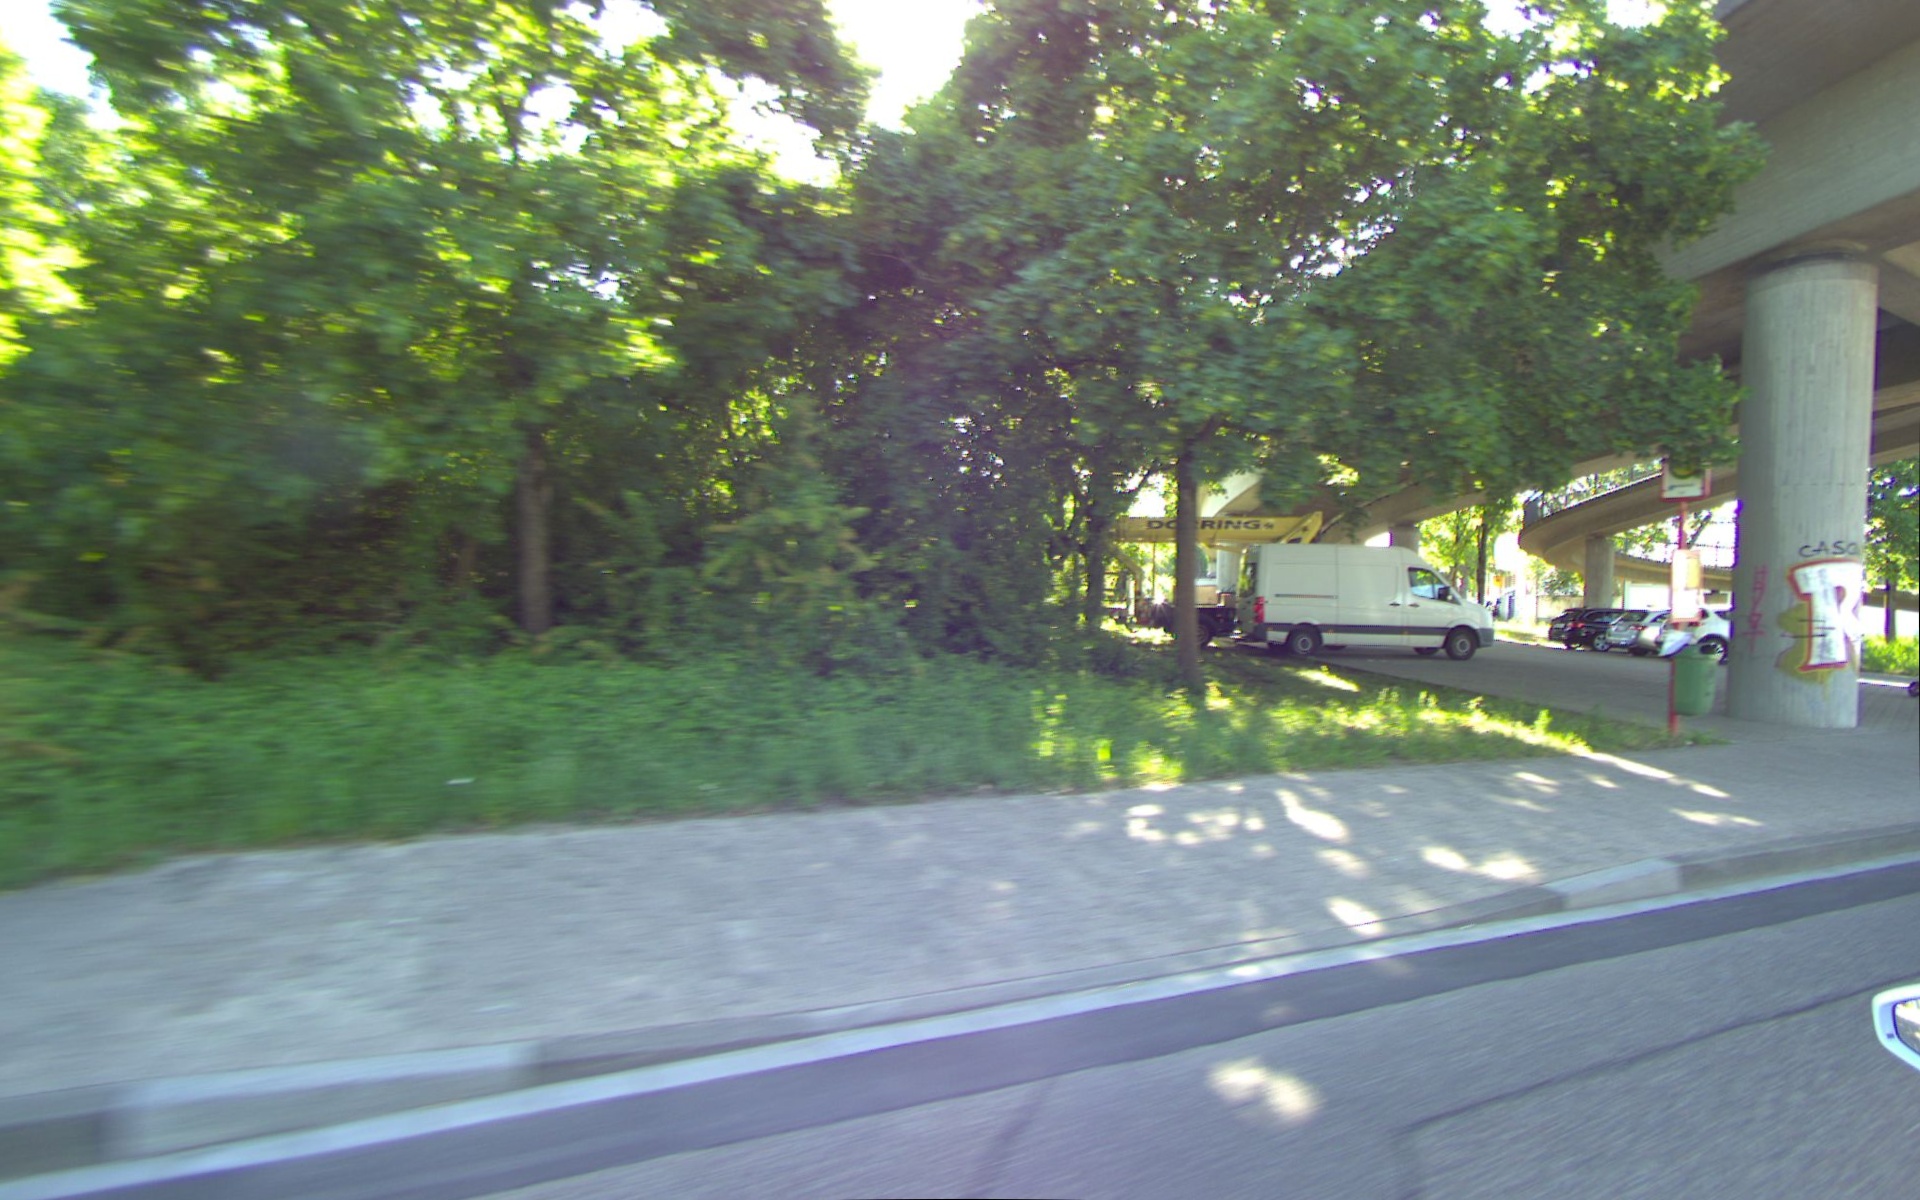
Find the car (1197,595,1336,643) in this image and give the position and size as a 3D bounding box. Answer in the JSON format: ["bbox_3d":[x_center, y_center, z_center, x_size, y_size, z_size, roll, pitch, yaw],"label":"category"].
[{"bbox_3d":[10.206,0.616,33.720,4.164,1.461,1.741,2,1,6],"label":"car"}]

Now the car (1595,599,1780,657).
[{"bbox_3d":[21.489,0.800,29.785,4.213,1.573,1.684,1,1,1],"label":"car"}]

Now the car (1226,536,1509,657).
[{"bbox_3d":[9.535,-0.086,23.858,5.890,2.717,1.947,0,1,1],"label":"car"}]

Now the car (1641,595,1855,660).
[{"bbox_3d":[21.198,0.748,27.168,4.195,1.663,1.871,1,-2,6],"label":"car"}]

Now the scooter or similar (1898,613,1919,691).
[{"bbox_3d":[16.544,0.898,16.839,0.567,1.318,1.310,2,1,11],"label":"scooter or similar"}]

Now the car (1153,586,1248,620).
[{"bbox_3d":[11.146,0.119,46.786,4.164,1.461,1.741,2,1,9],"label":"car"}]

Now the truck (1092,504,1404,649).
[{"bbox_3d":[7.579,-0.653,27.368,7.806,3.599,2.484,2,1,7],"label":"truck"}]

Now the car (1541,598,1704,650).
[{"bbox_3d":[21.834,0.778,33.225,4.213,1.573,1.684,1,1,1],"label":"car"}]

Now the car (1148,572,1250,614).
[{"bbox_3d":[15.583,-0.502,65.616,6.276,2.540,2.001,2,1,14],"label":"car"}]
